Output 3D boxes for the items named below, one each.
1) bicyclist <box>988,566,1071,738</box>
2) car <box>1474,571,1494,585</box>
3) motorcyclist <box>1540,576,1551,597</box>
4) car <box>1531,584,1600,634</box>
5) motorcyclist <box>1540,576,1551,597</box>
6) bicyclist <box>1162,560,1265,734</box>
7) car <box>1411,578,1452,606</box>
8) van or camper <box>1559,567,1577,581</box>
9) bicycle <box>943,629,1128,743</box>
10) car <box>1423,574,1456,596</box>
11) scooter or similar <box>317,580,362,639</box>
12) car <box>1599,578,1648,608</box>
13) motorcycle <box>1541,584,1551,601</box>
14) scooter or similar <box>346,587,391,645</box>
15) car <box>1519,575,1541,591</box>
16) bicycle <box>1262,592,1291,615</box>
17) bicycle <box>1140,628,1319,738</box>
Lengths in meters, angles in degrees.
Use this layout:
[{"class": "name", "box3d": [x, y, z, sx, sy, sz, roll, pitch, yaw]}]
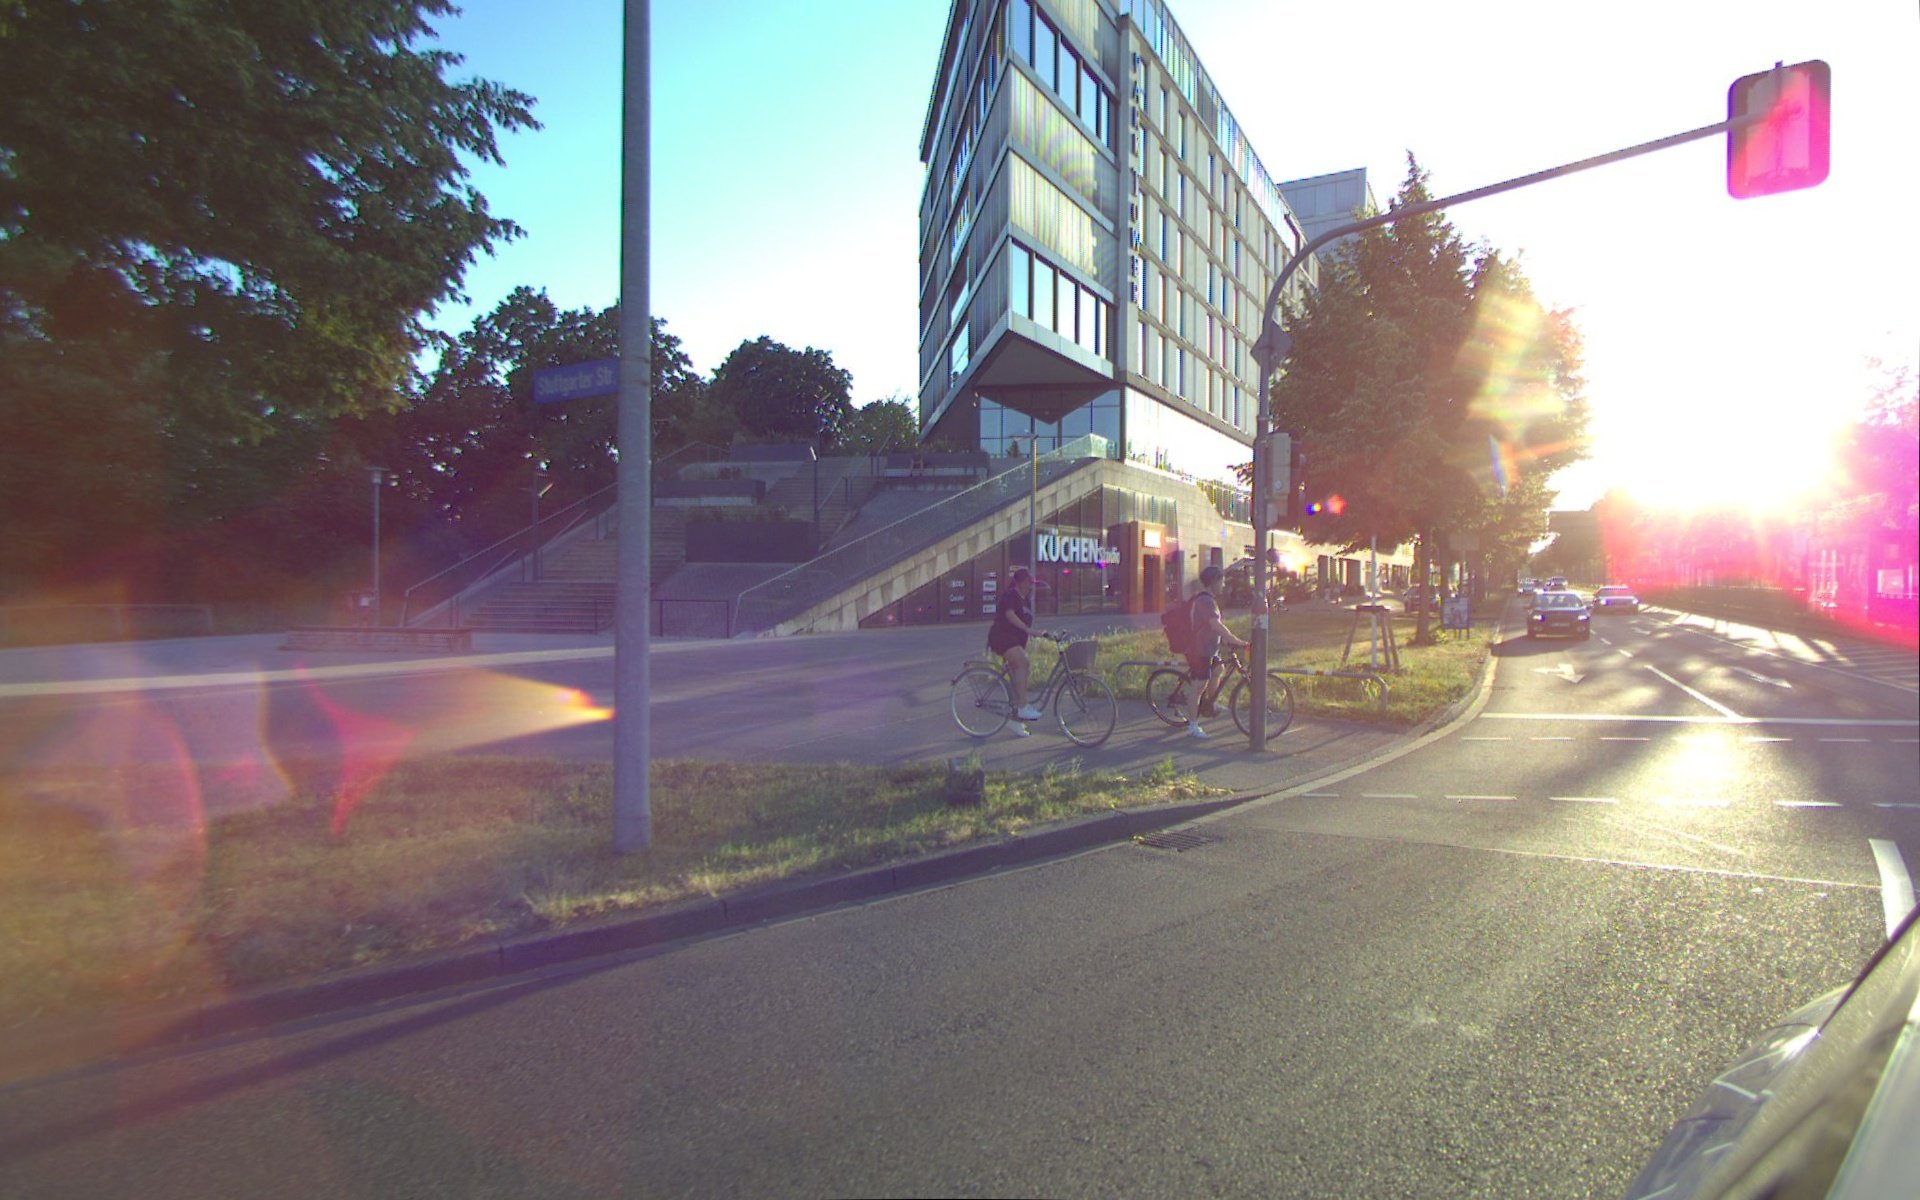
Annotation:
[{"class": "bicyclist", "box3d": [0.715, 0.497, 10.294, 0.676, 1.668, 0.679, 0, 1, 20]}, {"class": "car", "box3d": [56.588, -2.423, 109.291, 1.787, 1.482, 3.959, 1, 1, 29]}, {"class": "motorcyclist", "box3d": [41.277, -0.946, 71.358, 0.631, 1.433, 0.707, 0, 2, 30]}, {"class": "car", "box3d": [19.605, 0.247, 32.878, 1.787, 1.482, 3.959, 1, 1, 29]}, {"class": "motorcyclist", "box3d": [41.604, -0.973, 71.935, 0.631, 1.426, 0.588, 0, 1, 30]}, {"class": "bicyclist", "box3d": [2.732, 0.463, 10.905, 0.844, 1.777, 0.793, 1, 1, 37]}, {"class": "car", "box3d": [25.975, -0.467, 55.733, 1.787, 1.482, 3.959, 1, 1, 29]}, {"class": "van or camper", "box3d": [85.436, -3.697, 142.284, 1.982, 1.981, 5.277, 1, 2, 29]}, {"class": "bicycle", "box3d": [0.740, 0.837, 10.147, 1.840, 1.035, 0.306, 0, 1, 21]}, {"class": "car", "box3d": [32.739, -1.043, 69.090, 1.787, 1.482, 3.959, 1, 1, 29]}, {"class": "scooter or similar", "box3d": [-13.497, 0.194, 21.996, 1.570, 1.235, 0.361, 1, 1, 41]}, {"class": "car", "box3d": [34.022, -0.405, 51.964, 1.787, 1.440, 4.404, 1, 1, 29]}, {"class": "motorcycle", "box3d": [41.427, -0.538, 71.575, 0.553, 1.115, 2.137, 0, 1, 30]}, {"class": "scooter or similar", "box3d": [-13.149, 0.333, 22.472, 1.570, 1.235, 0.361, 1, 1, 41]}, {"class": "car", "box3d": [56.192, -1.689, 99.805, 1.876, 1.499, 4.010, 1, 2, 29]}, {"class": "bicycle", "box3d": [12.964, 0.129, 41.370, 0.546, 0.862, 2.615, 0, 1, 31]}, {"class": "bicycle", "box3d": [2.887, 0.860, 10.978, 1.853, 1.035, 0.432, 1, 1, 38]}]
